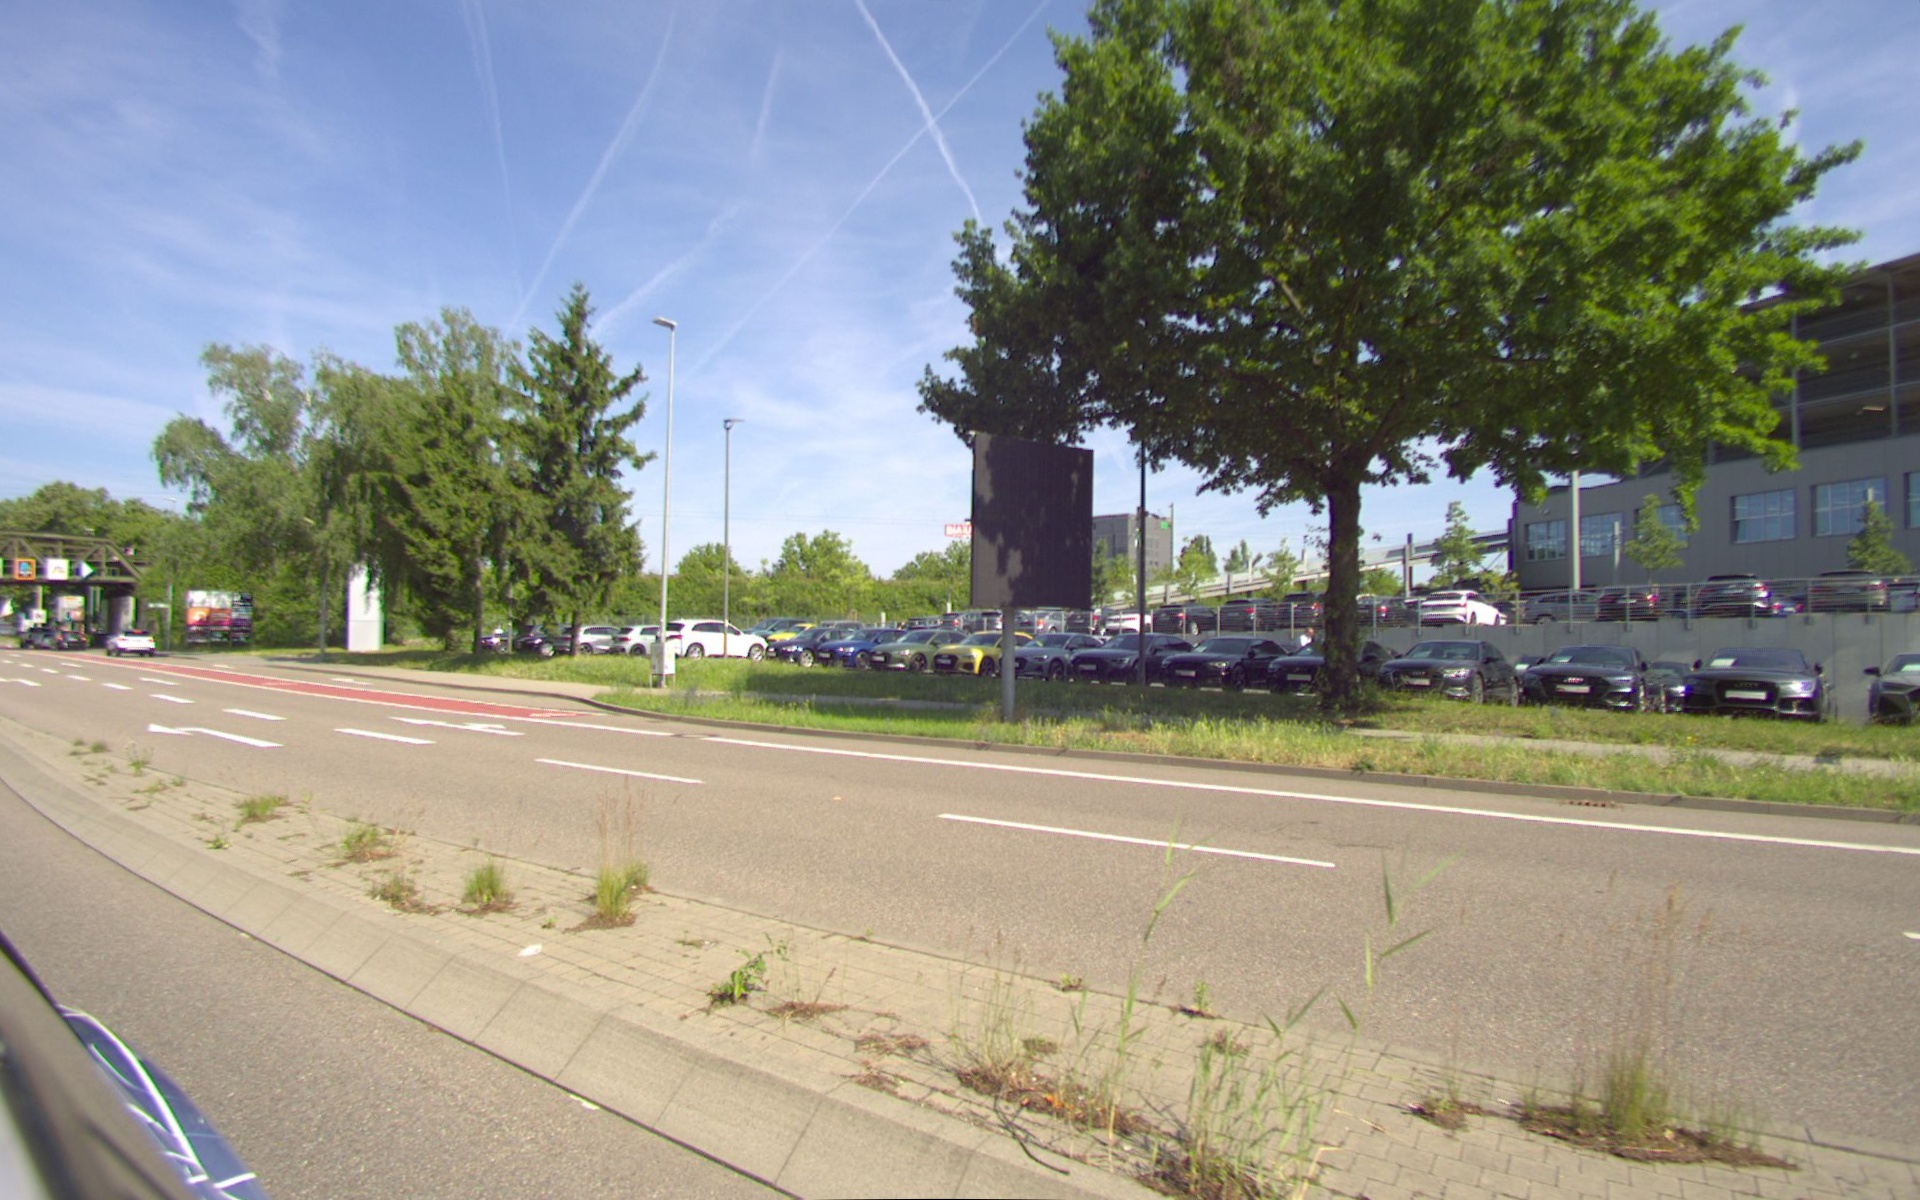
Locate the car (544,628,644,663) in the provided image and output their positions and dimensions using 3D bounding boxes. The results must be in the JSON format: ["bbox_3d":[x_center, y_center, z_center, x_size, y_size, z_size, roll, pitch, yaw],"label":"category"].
[{"bbox_3d":[-15.700,1.920,43.543,1.815,1.381,3.642,-2,-1,41],"label":"car"}]

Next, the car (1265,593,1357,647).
[{"bbox_3d":[13.757,0.842,39.506,1.978,1.977,4.455,-1,-3,39],"label":"car"}]

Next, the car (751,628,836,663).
[{"bbox_3d":[-8.517,2.300,51.963,1.999,1.634,3.945,-2,-1,42],"label":"car"}]

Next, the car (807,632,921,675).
[{"bbox_3d":[-3.117,1.778,33.323,1.743,1.295,3.558,-2,-5,39],"label":"car"}]

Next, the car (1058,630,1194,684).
[{"bbox_3d":[4.418,1.519,26.600,1.983,1.295,3.643,-2,-5,39],"label":"car"}]

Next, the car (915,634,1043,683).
[{"bbox_3d":[0.624,1.771,30.217,1.838,1.351,3.848,-2,-5,39],"label":"car"}]

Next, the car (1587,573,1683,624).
[{"bbox_3d":[21.571,-0.018,32.279,2.050,1.507,3.946,-2,-1,41],"label":"car"}]

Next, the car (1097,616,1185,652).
[{"bbox_3d":[8.079,1.517,44.901,1.978,1.496,4.455,-1,-3,39],"label":"car"}]

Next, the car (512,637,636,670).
[{"bbox_3d":[-17.127,2.332,45.080,1.999,1.278,4.801,-2,-1,41],"label":"car"}]

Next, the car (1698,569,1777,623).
[{"bbox_3d":[23.552,-0.080,30.608,1.667,1.507,3.946,-2,-1,41],"label":"car"}]

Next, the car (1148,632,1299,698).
[{"bbox_3d":[6.625,1.559,25.104,1.978,1.487,4.455,-1,-3,39],"label":"car"}]

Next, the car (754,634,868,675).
[{"bbox_3d":[-5.156,1.854,35.275,1.743,1.295,3.753,-2,-1,39],"label":"car"}]

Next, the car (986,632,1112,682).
[{"bbox_3d":[2.546,1.617,28.440,1.863,1.295,3.558,-2,-5,39],"label":"car"}]

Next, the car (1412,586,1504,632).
[{"bbox_3d":[17.801,0.368,36.081,1.978,1.496,4.455,-1,-3,39],"label":"car"}]

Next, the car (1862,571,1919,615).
[{"bbox_3d":[34.073,-0.243,34.929,4.589,1.475,1.928,-1,-1,-10],"label":"car"}]

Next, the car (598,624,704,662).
[{"bbox_3d":[-13.113,1.810,43.093,1.848,1.497,3.941,-2,-2,45],"label":"car"}]

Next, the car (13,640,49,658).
[{"bbox_3d":[-73.526,3.878,80.100,4.317,1.398,1.618,-2,-4,42],"label":"car"}]

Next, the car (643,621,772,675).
[{"bbox_3d":[-9.596,1.781,38.695,2.000,1.889,4.415,-2,-1,42],"label":"car"}]

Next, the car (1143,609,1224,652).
[{"bbox_3d":[9.574,1.324,43.101,1.663,1.718,4.226,-1,-3,39],"label":"car"}]

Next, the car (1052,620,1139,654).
[{"bbox_3d":[6.253,1.710,46.355,1.978,1.496,4.455,-1,-3,39],"label":"car"}]

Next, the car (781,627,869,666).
[{"bbox_3d":[-6.615,2.261,49.809,1.999,1.770,3.945,-2,-1,42],"label":"car"}]

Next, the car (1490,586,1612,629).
[{"bbox_3d":[22.999,0.304,39.443,3.786,1.585,1.930,-2,-1,41],"label":"car"}]

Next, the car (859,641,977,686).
[{"bbox_3d":[-1.275,2.008,31.790,1.661,1.295,3.705,-2,-5,39],"label":"car"}]

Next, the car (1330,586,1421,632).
[{"bbox_3d":[15.648,0.382,38.012,1.978,1.563,4.455,-1,-3,39],"label":"car"}]

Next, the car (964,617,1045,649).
[{"bbox_3d":[2.230,1.616,49.875,1.997,1.488,4.162,-2,-1,38],"label":"car"}]

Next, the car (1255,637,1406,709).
[{"bbox_3d":[8.613,1.615,23.306,1.918,1.487,4.455,-1,-3,39],"label":"car"}]

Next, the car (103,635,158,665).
[{"bbox_3d":[-46.572,2.792,56.779,1.970,1.630,4.106,4,-4,-44],"label":"car"}]

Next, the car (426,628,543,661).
[{"bbox_3d":[-22.490,2.057,47.975,1.999,1.400,4.638,-2,-1,41],"label":"car"}]

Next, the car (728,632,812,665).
[{"bbox_3d":[-9.977,2.514,53.447,1.803,1.576,4.200,-2,-1,39],"label":"car"}]

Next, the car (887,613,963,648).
[{"bbox_3d":[-1.817,1.568,53.397,1.996,1.746,3.951,-2,-1,36],"label":"car"}]

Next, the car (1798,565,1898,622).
[{"bbox_3d":[25.409,-0.145,29.042,1.985,1.507,4.473,-2,-1,41],"label":"car"}]

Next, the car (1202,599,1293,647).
[{"bbox_3d":[11.769,0.973,41.259,1.978,1.829,4.455,-1,-3,39],"label":"car"}]

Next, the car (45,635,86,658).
[{"bbox_3d":[-65.050,3.373,73.580,4.025,1.530,1.680,-2,-4,41],"label":"car"}]

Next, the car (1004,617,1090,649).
[{"bbox_3d":[4.172,1.542,47.981,1.889,1.429,4.455,-2,-1,39],"label":"car"}]

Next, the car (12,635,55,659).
[{"bbox_3d":[-78.151,3.943,85.376,5.448,1.875,1.973,-2,-5,41],"label":"car"}]

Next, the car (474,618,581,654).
[{"bbox_3d":[-20.180,1.659,47.315,1.999,1.558,4.170,-2,-1,41],"label":"car"}]

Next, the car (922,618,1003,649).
[{"bbox_3d":[0.157,1.681,51.588,1.997,1.488,4.162,-2,-1,38],"label":"car"}]

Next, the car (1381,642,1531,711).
[{"bbox_3d":[10.626,1.547,21.529,1.918,1.300,4.455,-1,-3,39],"label":"car"}]

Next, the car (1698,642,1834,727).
[{"bbox_3d":[14.357,1.418,18.048,1.690,1.300,4.455,-1,-3,39],"label":"car"}]

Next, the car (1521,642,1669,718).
[{"bbox_3d":[12.525,1.485,19.826,1.918,1.300,4.455,-1,-3,39],"label":"car"}]

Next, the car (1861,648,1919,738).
[{"bbox_3d":[16.009,1.445,16.297,2.002,1.300,4.455,-1,-3,39],"label":"car"}]
